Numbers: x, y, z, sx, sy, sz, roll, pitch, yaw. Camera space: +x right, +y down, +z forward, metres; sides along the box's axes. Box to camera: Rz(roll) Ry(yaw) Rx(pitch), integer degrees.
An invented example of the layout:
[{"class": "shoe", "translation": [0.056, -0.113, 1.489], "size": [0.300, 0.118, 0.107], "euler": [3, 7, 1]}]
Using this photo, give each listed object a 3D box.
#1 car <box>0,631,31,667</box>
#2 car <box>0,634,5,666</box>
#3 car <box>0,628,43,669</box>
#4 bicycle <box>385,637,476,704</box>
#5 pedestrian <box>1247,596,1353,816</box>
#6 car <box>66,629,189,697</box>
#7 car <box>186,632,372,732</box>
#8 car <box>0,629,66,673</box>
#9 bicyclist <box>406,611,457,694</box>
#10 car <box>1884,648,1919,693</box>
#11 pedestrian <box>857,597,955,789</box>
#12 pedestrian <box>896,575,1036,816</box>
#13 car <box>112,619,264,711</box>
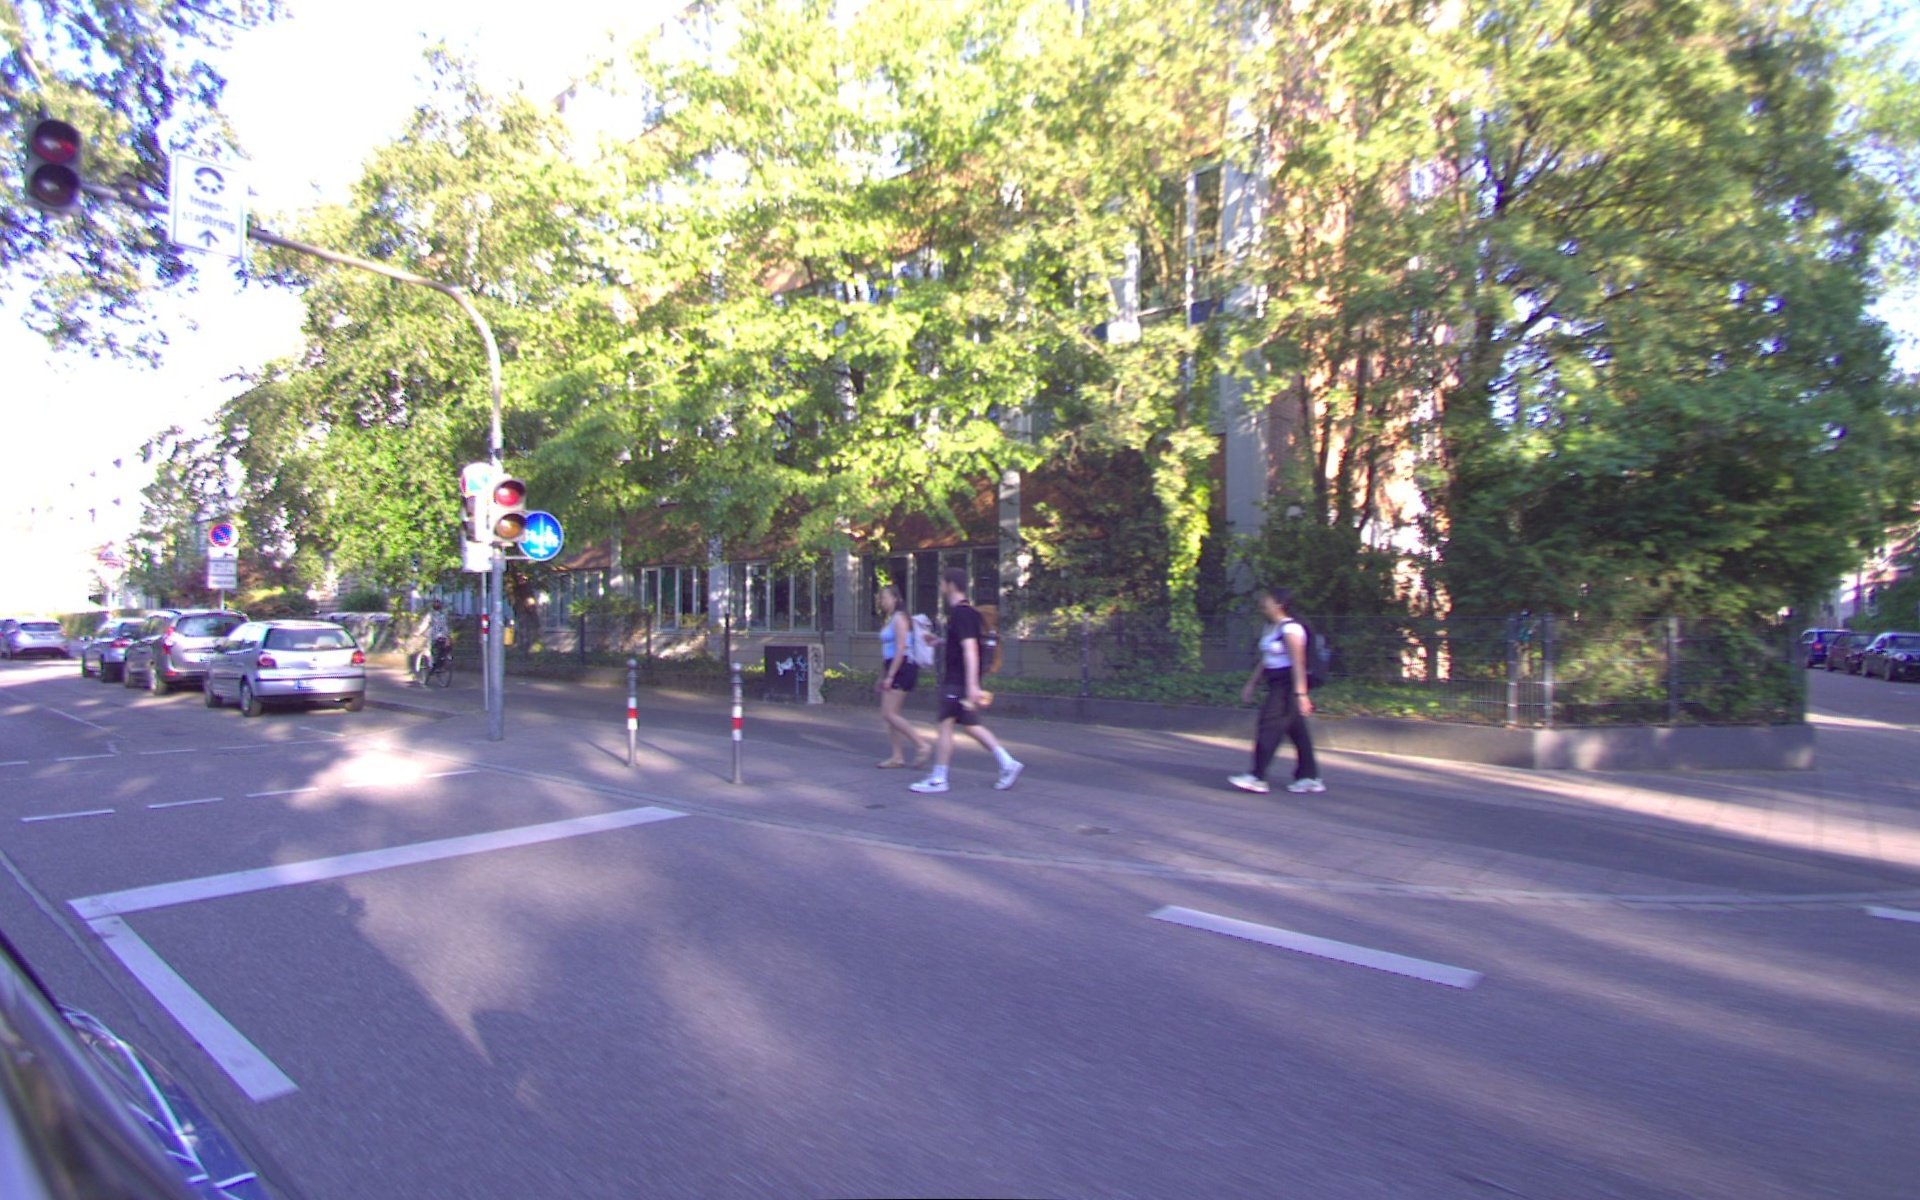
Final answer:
[{"class": "car", "translation": [-40.573, 2.059, 42.620], "size": [4.051, 1.466, 1.582], "euler": [-2, -3, 40]}, {"class": "car", "translation": [-45.245, 2.278, 46.475], "size": [3.858, 1.466, 1.582], "euler": [-1, -2, 40]}, {"class": "car", "translation": [-37.226, 1.889, 39.627], "size": [3.787, 1.519, 1.581], "euler": [-2, -4, 43]}, {"class": "bicycle", "translation": [-10.664, 1.394, 20.341], "size": [2.187, 1.258, 0.680], "euler": [-1, -1, 34]}, {"class": "pedestrian", "translation": [2.731, 0.820, 8.186], "size": [0.760, 1.675, 0.712], "euler": [-1, -2, 18]}, {"class": "car", "translation": [-20.176, 1.479, 24.485], "size": [4.059, 1.505, 1.653], "euler": [-2, -3, 42]}, {"class": "car", "translation": [-11.320, 1.280, 16.734], "size": [3.881, 1.468, 1.661], "euler": [-2, -3, 43]}, {"class": "car", "translation": [-33.676, 1.838, 36.514], "size": [3.769, 1.505, 1.584], "euler": [-2, -3, 41]}, {"class": "bicyclist", "translation": [-10.605, 1.042, 20.302], "size": [0.704, 1.615, 0.670], "euler": [-1, -1, 34]}, {"class": "car", "translation": [28.042, 2.020, 29.209], "size": [1.494, 1.231, 2.871], "euler": [-1, -2, 32]}, {"class": "pedestrian", "translation": [-0.489, 0.829, 9.311], "size": [0.701, 1.675, 0.712], "euler": [-1, -2, 17]}, {"class": "pedestrian", "translation": [0.065, 0.747, 8.275], "size": [0.949, 1.838, 0.818], "euler": [-1, -2, 18]}, {"class": "car", "translation": [-16.056, 1.292, 20.970], "size": [4.338, 1.721, 1.661], "euler": [-2, -3, 42]}]
